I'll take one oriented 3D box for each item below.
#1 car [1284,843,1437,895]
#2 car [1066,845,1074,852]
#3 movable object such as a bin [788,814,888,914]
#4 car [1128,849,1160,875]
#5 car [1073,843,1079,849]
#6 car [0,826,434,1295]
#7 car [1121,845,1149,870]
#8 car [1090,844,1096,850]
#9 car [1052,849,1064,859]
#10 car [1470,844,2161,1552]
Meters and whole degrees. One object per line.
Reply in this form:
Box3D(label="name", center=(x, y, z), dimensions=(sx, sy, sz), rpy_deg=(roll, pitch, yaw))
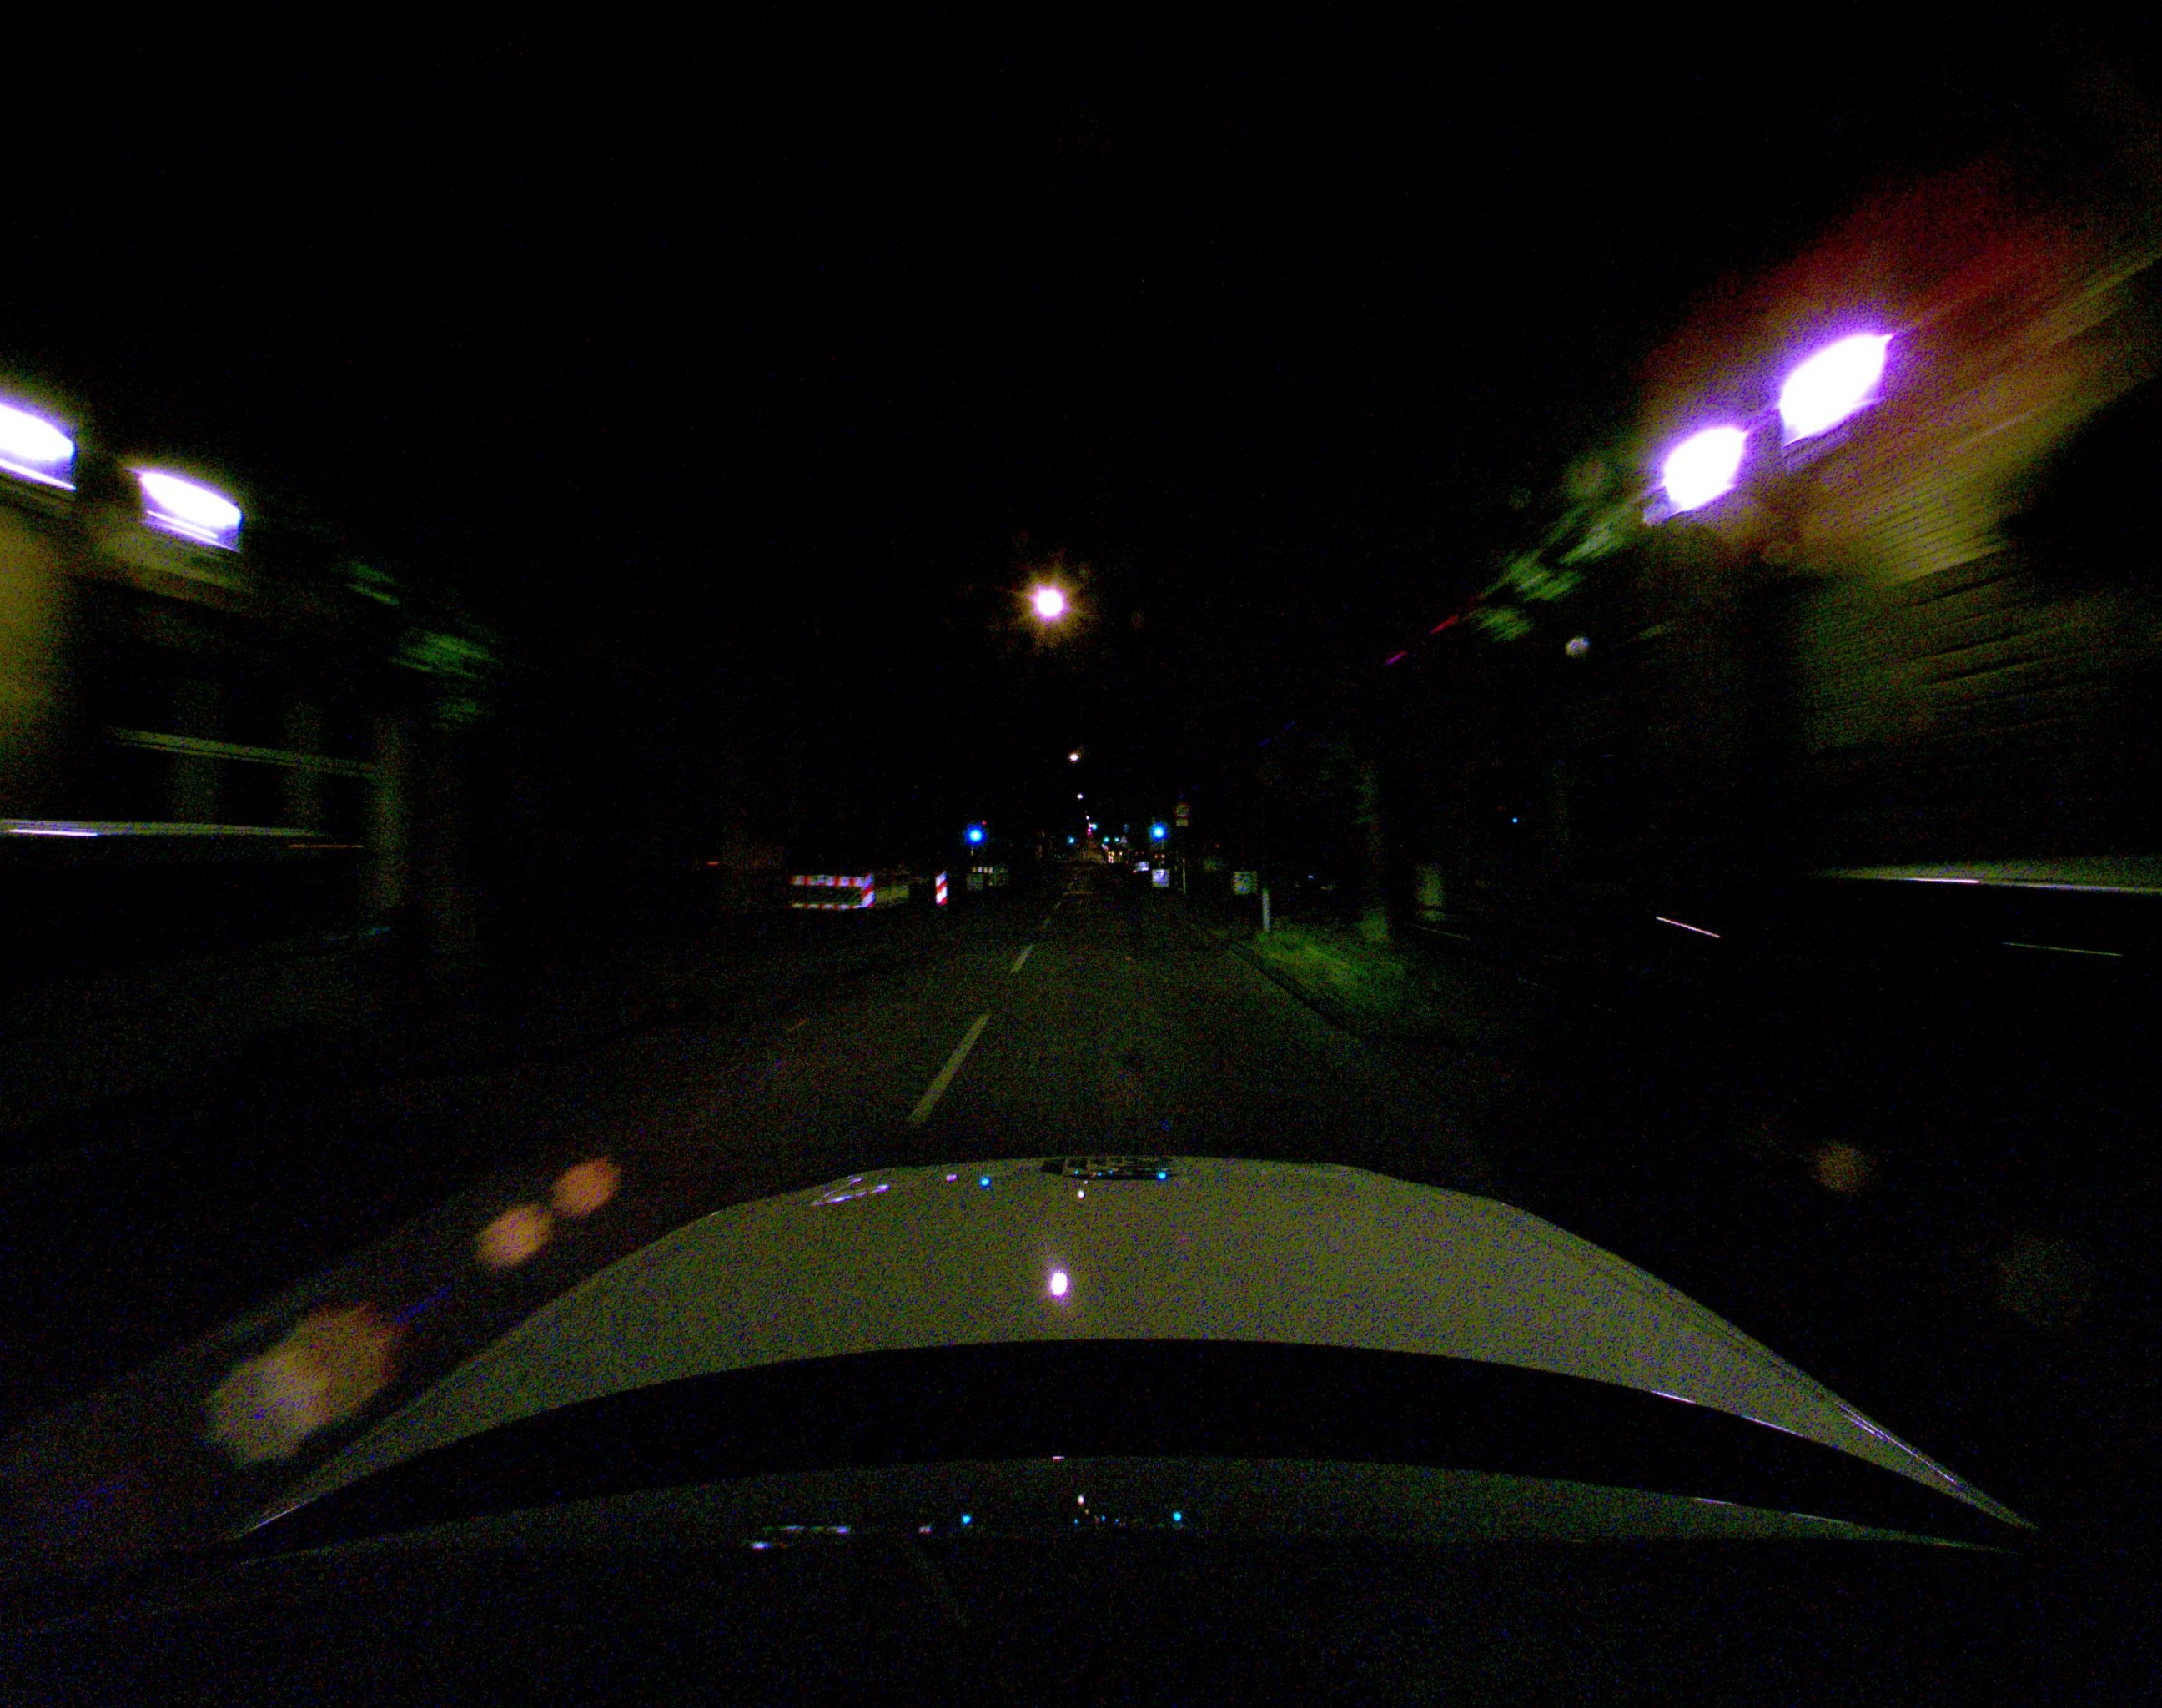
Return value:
Box3D(label="car", center=(8.381, 0.453, 24.670), dimensions=(4.002, 1.422, 1.851), rpy_deg=(-1, -2, -1))
Box3D(label="car", center=(-2.712, -1.414, 201.585), dimensions=(1.867, 1.544, 4.205), rpy_deg=(-1, 1, 1))
Box3D(label="movable object such as a bin", center=(-7.014, 0.269, 23.886), dimensions=(1.565, 2.626, 3.911), rpy_deg=(-2, 0, 2))
Box3D(label="car", center=(3.929, 0.448, 51.113), dimensions=(1.733, 1.477, 4.001), rpy_deg=(-3, 0, 1))
Box3D(label="car", center=(-1.534, -2.332, 244.940), dimensions=(1.867, 1.814, 4.205), rpy_deg=(-1, 1, 1))
Box3D(label="car", center=(-5.196, 0.823, 2.917), dimensions=(1.877, 1.843, 4.814), rpy_deg=(-1, 0, 0))
Box3D(label="car", center=(4.106, 0.252, 62.227), dimensions=(1.730, 1.855, 4.314), rpy_deg=(-2, 0, -1))
Box3D(label="car", center=(3.788, -2.334, 255.354), dimensions=(1.866, 1.814, 4.207), rpy_deg=(-1, 1, 2))
Box3D(label="car", center=(-3.544, -0.017, 127.594), dimensions=(1.665, 1.443, 4.205), rpy_deg=(-1, 1, 1))
Box3D(label="car", center=(3.175, 0.710, 2.989), dimensions=(1.729, 1.454, 4.003), rpy_deg=(-1, 0, 3))
